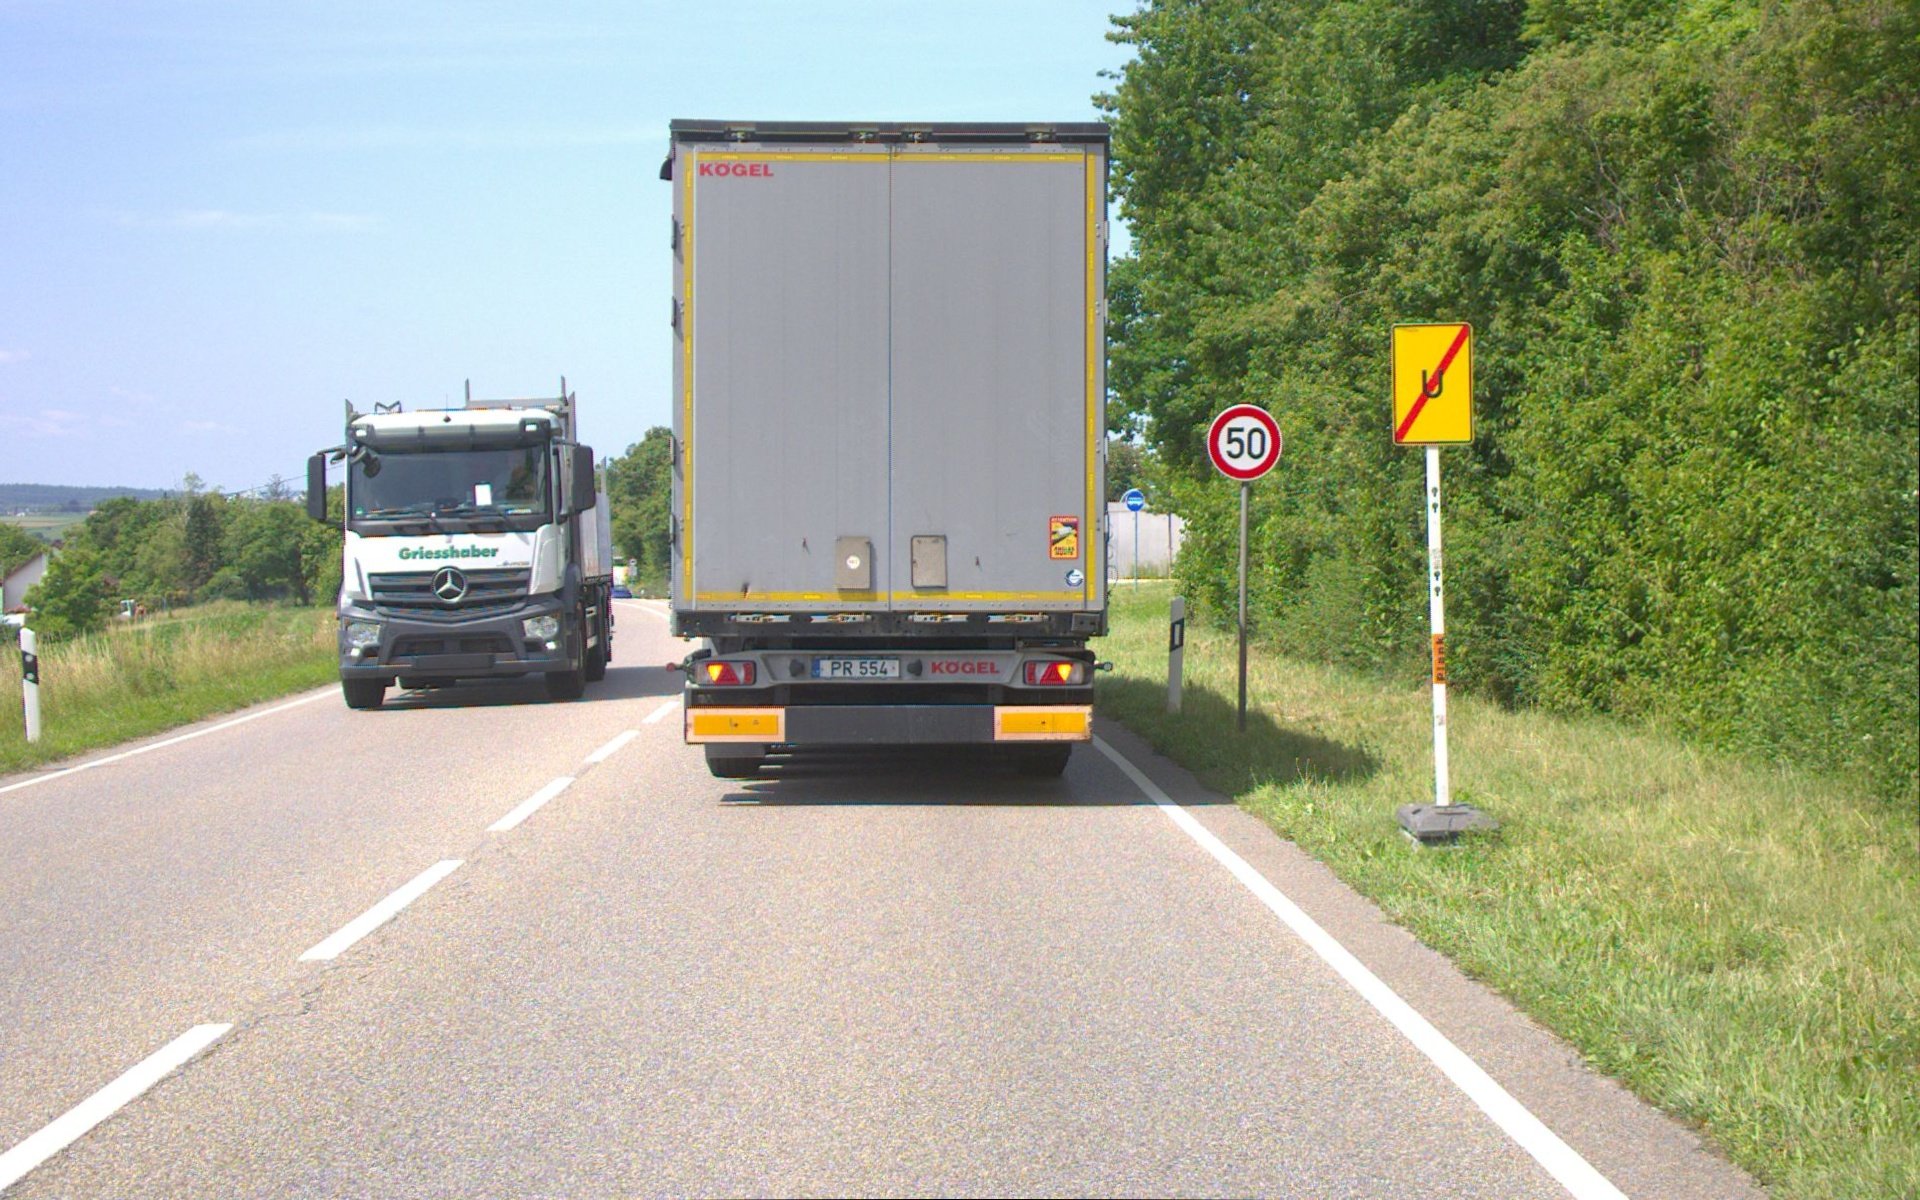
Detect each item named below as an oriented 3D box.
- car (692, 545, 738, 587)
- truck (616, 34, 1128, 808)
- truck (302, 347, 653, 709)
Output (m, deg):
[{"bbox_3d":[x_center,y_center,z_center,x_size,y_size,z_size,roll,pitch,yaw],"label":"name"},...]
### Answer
[{"bbox_3d":[-12.563,-1.744,175.986,2.171,2.007,4.527,-3,1,-5],"label":"car"},{"bbox_3d":[-0.701,-1.088,24.030,2.907,4.395,8.861,0,1,-3],"label":"truck"},{"bbox_3d":[-5.435,-0.818,40.731,2.756,3.564,11.066,-3,1,-2],"label":"truck"}]
